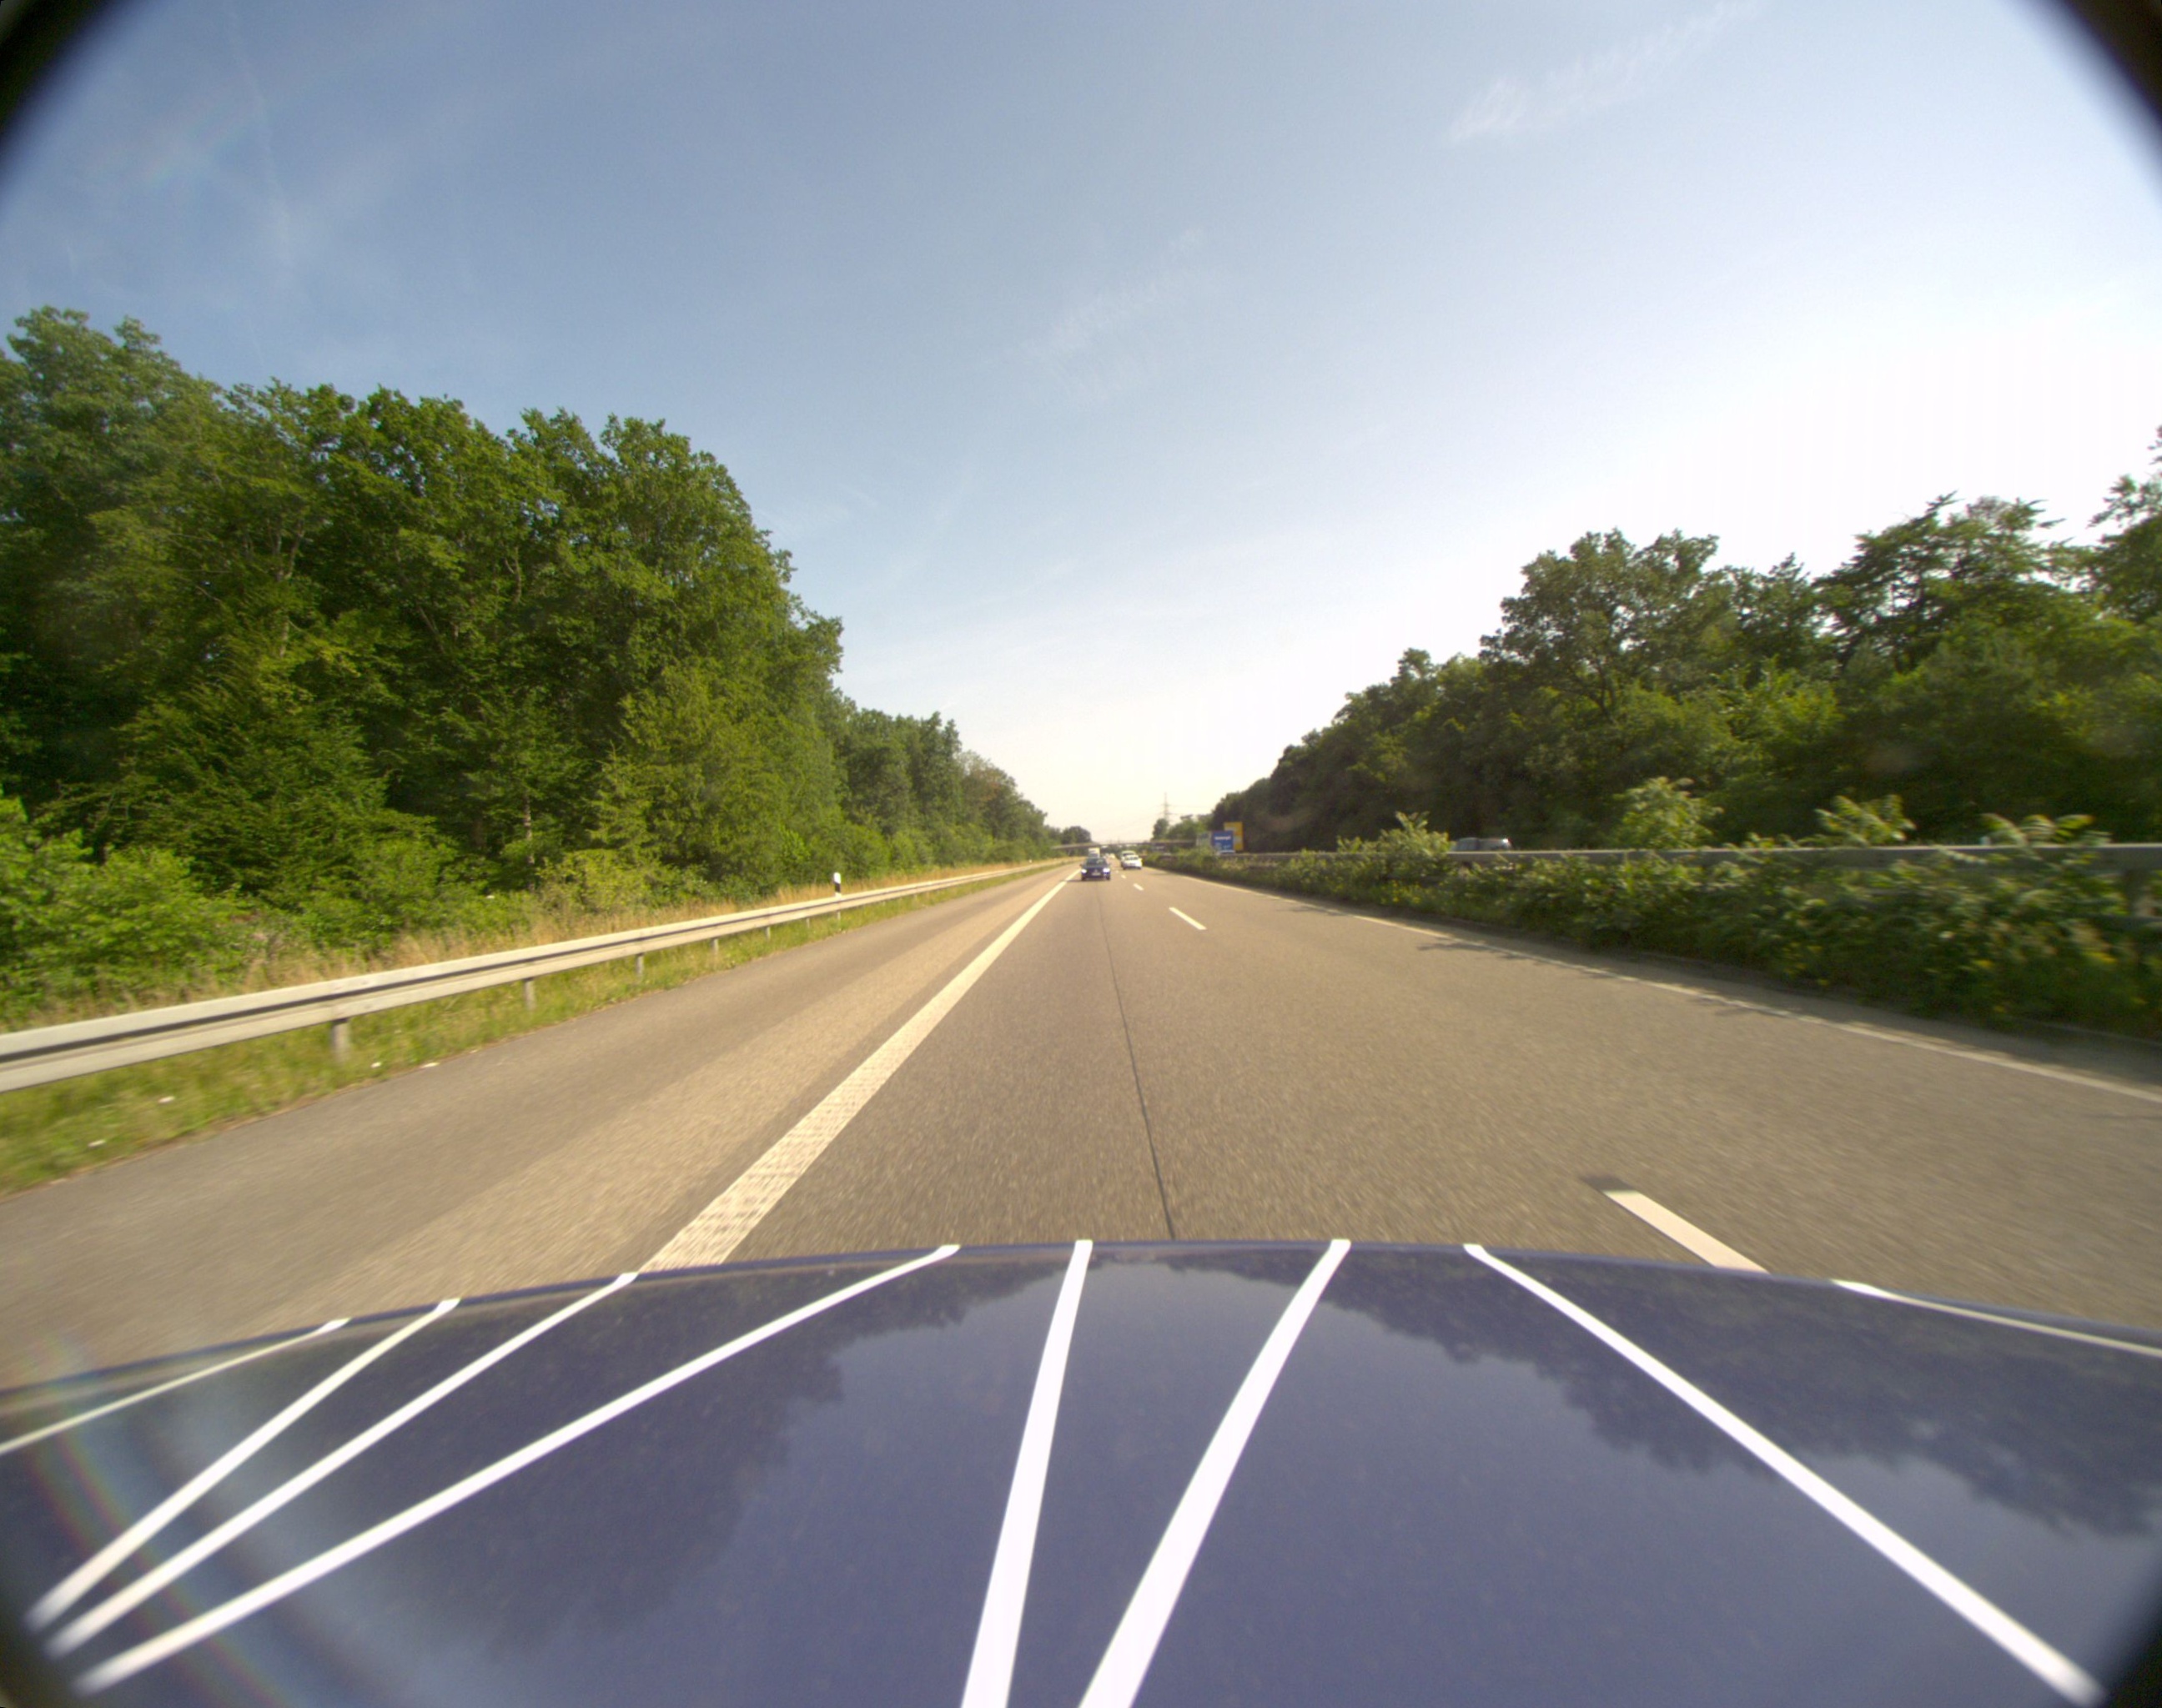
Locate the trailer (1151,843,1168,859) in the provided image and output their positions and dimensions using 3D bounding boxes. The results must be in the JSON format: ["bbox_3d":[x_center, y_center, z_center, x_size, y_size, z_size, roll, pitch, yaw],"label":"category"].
[{"bbox_3d":[20.316,-0.704,197.216,2.973,4.046,14.317,-1,0,1],"label":"trailer"}]

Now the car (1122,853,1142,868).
[{"bbox_3d":[5.145,0.633,77.456,1.754,1.477,5.263,-2,0,1],"label":"car"}]

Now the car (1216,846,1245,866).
[{"bbox_3d":[12.746,0.156,64.896,1.748,1.578,3.665,-2,0,0],"label":"car"}]

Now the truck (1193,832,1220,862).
[{"bbox_3d":[17.547,-0.929,106.193,2.900,4.008,6.025,0,0,1],"label":"truck"}]

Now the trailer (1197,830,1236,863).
[{"bbox_3d":[17.383,-0.894,98.380,2.900,3.985,13.323,0,0,1],"label":"trailer"}]

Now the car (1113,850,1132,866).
[{"bbox_3d":[5.260,0.483,96.073,1.913,1.934,4.705,-2,0,-2],"label":"car"}]

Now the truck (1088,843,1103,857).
[{"bbox_3d":[3.165,-0.846,165.501,2.695,3.020,10.370,-2,0,-1],"label":"truck"}]

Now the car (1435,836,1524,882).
[{"bbox_3d":[16.008,0.194,30.713,1.655,1.681,3.505,-2,0,-1],"label":"car"}]

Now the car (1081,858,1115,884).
[{"bbox_3d":[0.905,0.927,41.922,1.789,1.285,3.538,-2,0,0],"label":"car"}]
